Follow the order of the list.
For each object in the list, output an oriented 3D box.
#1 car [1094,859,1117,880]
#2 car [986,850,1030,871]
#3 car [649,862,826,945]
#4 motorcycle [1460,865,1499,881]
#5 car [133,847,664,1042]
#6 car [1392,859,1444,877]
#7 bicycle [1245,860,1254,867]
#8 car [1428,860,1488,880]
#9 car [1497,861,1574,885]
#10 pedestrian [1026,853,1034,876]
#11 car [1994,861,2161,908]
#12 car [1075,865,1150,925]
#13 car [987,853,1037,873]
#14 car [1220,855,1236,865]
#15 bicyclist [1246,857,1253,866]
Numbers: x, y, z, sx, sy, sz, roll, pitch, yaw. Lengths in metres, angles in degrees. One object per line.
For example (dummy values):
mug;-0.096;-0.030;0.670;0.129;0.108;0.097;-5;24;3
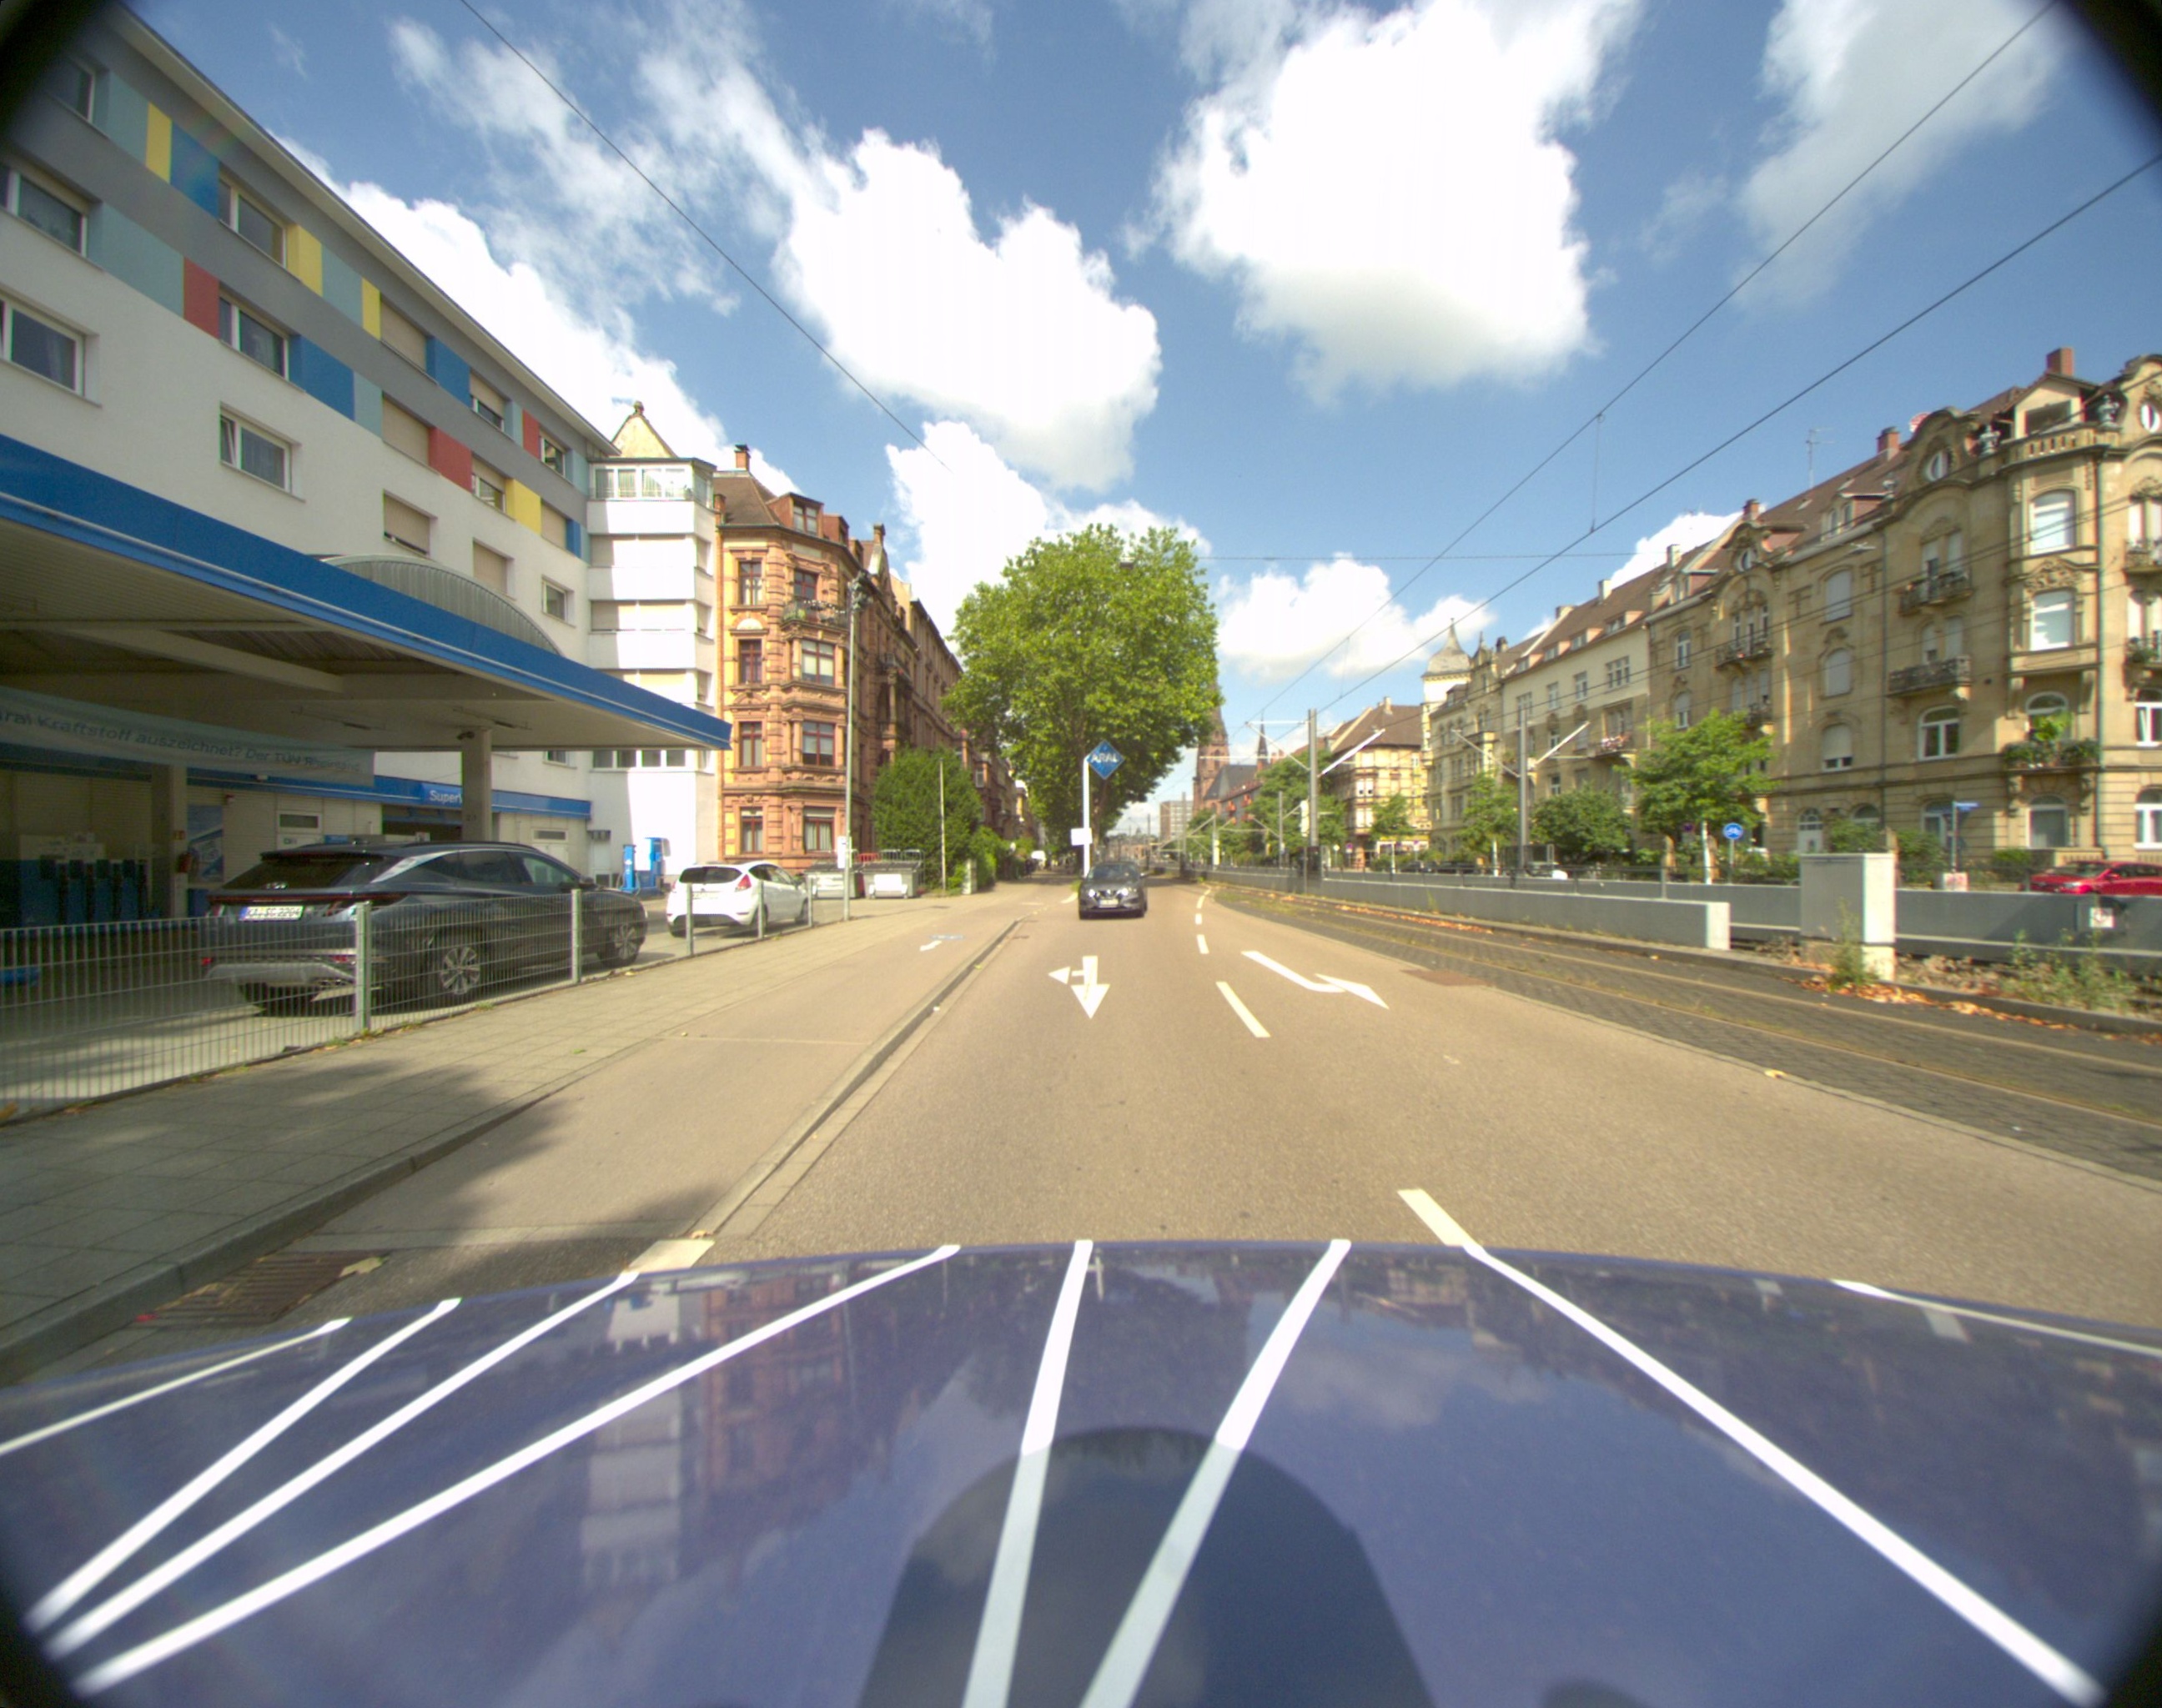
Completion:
car;1.782;1.111;56.574;1.557;1.476;3.858;1;0;0
car;-7.505;0.695;78.767;4.409;1.927;1.983;3;0;-4
car;-6.822;0.906;15.604;1.810;1.447;4.001;-1;0;0
motorcycle;26.077;1.247;49.753;1.765;0.936;1.417;1;0;-1
car;-6.949;0.768;8.625;1.810;1.593;4.583;-1;0;1
car;25.831;1.066;58.363;1.953;1.319;4.726;0;0;1
bicycle;24.115;1.285;108.661;0.778;0.973;2.141;1;0;1
car;26.060;1.053;52.671;2.025;1.319;4.100;0;0;-2
car;26.126;1.053;43.824;1.756;1.320;4.312;0;0;-2
pedestrian;-3.975;0.843;59.030;0.565;1.775;0.630;0;0;0
car;33.071;0.965;24.914;3.789;1.455;1.933;0;0;3
car;0.985;1.072;21.432;1.799;1.454;4.570;0;0;6
car;-6.681;0.896;73.250;4.735;1.772;2.004;-2;0;-8
car;25.745;1.061;133.512;1.999;1.628;4.114;0;0;0
bicyclist;24.116;1.088;108.921;0.769;1.330;1.049;1;0;0
